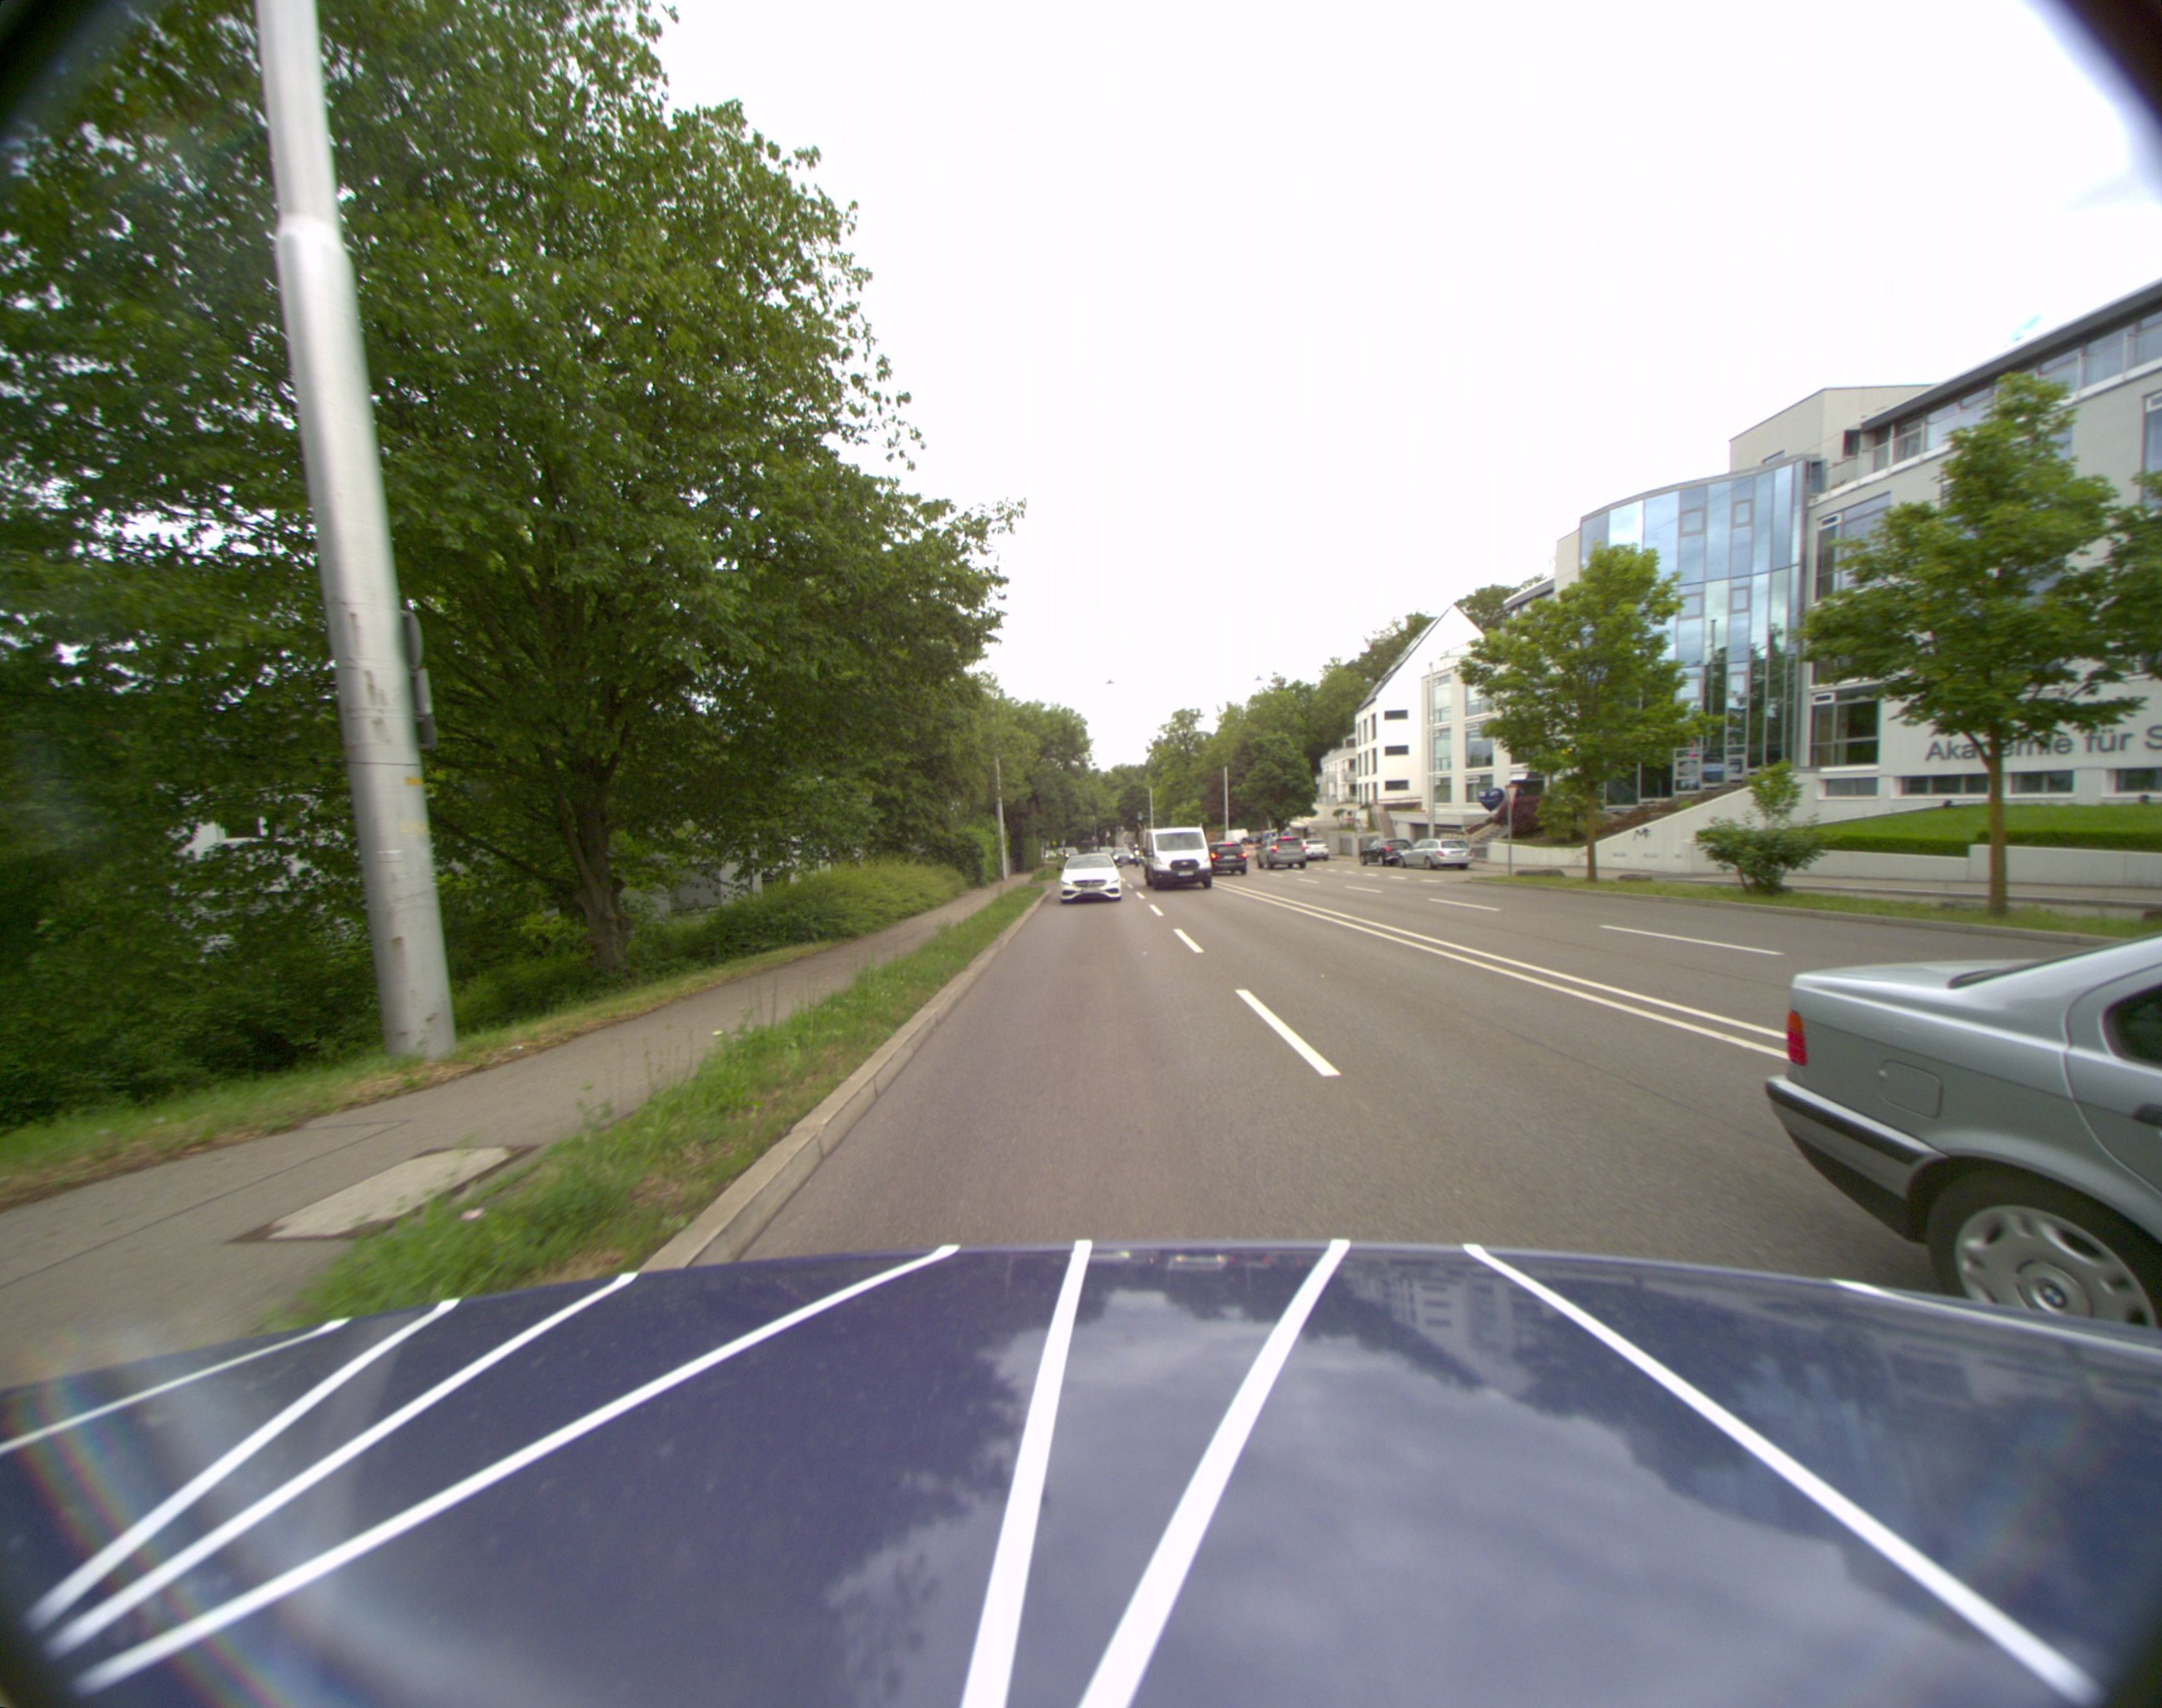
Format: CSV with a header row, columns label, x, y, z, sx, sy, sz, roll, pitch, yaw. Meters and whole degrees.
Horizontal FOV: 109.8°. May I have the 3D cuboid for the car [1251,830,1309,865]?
label,x,y,z,sx,sy,sz,roll,pitch,yaw
car,10.825,-0.358,41.734,1.768,1.699,4.869,-3,1,-1

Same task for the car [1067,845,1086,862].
label,x,y,z,sx,sy,sz,roll,pitch,yaw
car,-0.493,-0.097,76.411,1.675,1.524,3.998,-3,1,-3

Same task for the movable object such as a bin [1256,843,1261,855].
label,x,y,z,sx,sy,sz,roll,pitch,yaw
movable object such as a bin,14.891,-0.419,63.621,0.327,0.970,0.425,-3,2,8

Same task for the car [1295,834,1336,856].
label,x,y,z,sx,sy,sz,roll,pitch,yaw
car,16.382,-0.643,53.279,1.672,1.495,4.238,-1,1,3

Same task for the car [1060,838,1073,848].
label,x,y,z,sx,sy,sz,roll,pitch,yaw
car,-2.966,-2.277,155.279,2.000,1.881,3.997,-2,1,-7

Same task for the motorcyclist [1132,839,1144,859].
label,x,y,z,sx,sy,sz,roll,pitch,yaw
motorcyclist,4.300,-0.357,57.351,0.619,1.463,0.930,-5,1,-2

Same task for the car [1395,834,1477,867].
label,x,y,z,sx,sy,sz,roll,pitch,yaw
car,16.512,-0.195,35.563,1.677,1.420,4.416,0,1,-1

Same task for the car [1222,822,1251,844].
label,x,y,z,sx,sy,sz,roll,pitch,yaw
car,19.351,-2.561,94.952,1.999,2.512,6.531,-4,1,-1

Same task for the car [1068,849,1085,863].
label,x,y,z,sx,sy,sz,roll,pitch,yaw
car,-0.609,0.259,104.377,1.999,1.647,4.433,-3,1,-4

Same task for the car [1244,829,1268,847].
label,x,y,z,sx,sy,sz,roll,pitch,yaw
car,18.357,-1.720,80.020,1.810,1.741,4.251,-3,1,5

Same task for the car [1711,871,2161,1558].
label,x,y,z,sx,sy,sz,roll,pitch,yaw
car,3.137,0.832,0.484,1.638,1.375,4.619,-3,1,0

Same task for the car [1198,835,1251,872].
label,x,y,z,sx,sy,sz,roll,pitch,yaw
car,6.906,-0.054,37.037,1.768,1.583,4.365,-3,1,1

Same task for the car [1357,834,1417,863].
label,x,y,z,sx,sy,sz,roll,pitch,yaw
car,16.417,-0.335,40.965,1.677,1.420,4.089,-2,1,1

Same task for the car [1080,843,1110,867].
label,x,y,z,sx,sy,sz,roll,pitch,yaw
car,0.848,0.042,49.773,1.734,1.403,3.999,-3,1,-1

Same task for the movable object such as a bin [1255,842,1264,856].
label,x,y,z,sx,sy,sz,roll,pitch,yaw
movable object such as a bin,14.330,-0.403,60.859,0.589,1.131,0.645,-3,2,8

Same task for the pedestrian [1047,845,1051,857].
label,x,y,z,sx,sy,sz,roll,pitch,yaw
pedestrian,-4.956,-0.440,116.033,0.513,1.824,0.494,-3,2,-1

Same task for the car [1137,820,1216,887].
label,x,y,z,sx,sy,sz,roll,pitch,yaw
car,3.406,-0.042,28.466,1.999,2.161,6.267,-2,1,-1

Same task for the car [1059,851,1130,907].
label,x,y,z,sx,sy,sz,roll,pitch,yaw
car,0.307,0.650,22.200,1.821,1.339,3.999,-3,1,-1

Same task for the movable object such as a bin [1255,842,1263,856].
label,x,y,z,sx,sy,sz,roll,pitch,yaw
movable object such as a bin,14.408,-0.419,61.482,0.586,1.131,0.585,-3,2,8

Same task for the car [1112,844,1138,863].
label,x,y,z,sx,sy,sz,roll,pitch,yaw
car,3.827,-0.081,66.750,1.999,1.540,3.999,-2,1,-1

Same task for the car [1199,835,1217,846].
label,x,y,z,sx,sy,sz,roll,pitch,yaw
car,16.892,-1.780,101.237,1.582,1.434,3.293,-3,1,-4

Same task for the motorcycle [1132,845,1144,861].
label,x,y,z,sx,sy,sz,roll,pitch,yaw
motorcycle,4.337,-0.075,57.674,0.574,1.121,2.295,-5,1,-2
